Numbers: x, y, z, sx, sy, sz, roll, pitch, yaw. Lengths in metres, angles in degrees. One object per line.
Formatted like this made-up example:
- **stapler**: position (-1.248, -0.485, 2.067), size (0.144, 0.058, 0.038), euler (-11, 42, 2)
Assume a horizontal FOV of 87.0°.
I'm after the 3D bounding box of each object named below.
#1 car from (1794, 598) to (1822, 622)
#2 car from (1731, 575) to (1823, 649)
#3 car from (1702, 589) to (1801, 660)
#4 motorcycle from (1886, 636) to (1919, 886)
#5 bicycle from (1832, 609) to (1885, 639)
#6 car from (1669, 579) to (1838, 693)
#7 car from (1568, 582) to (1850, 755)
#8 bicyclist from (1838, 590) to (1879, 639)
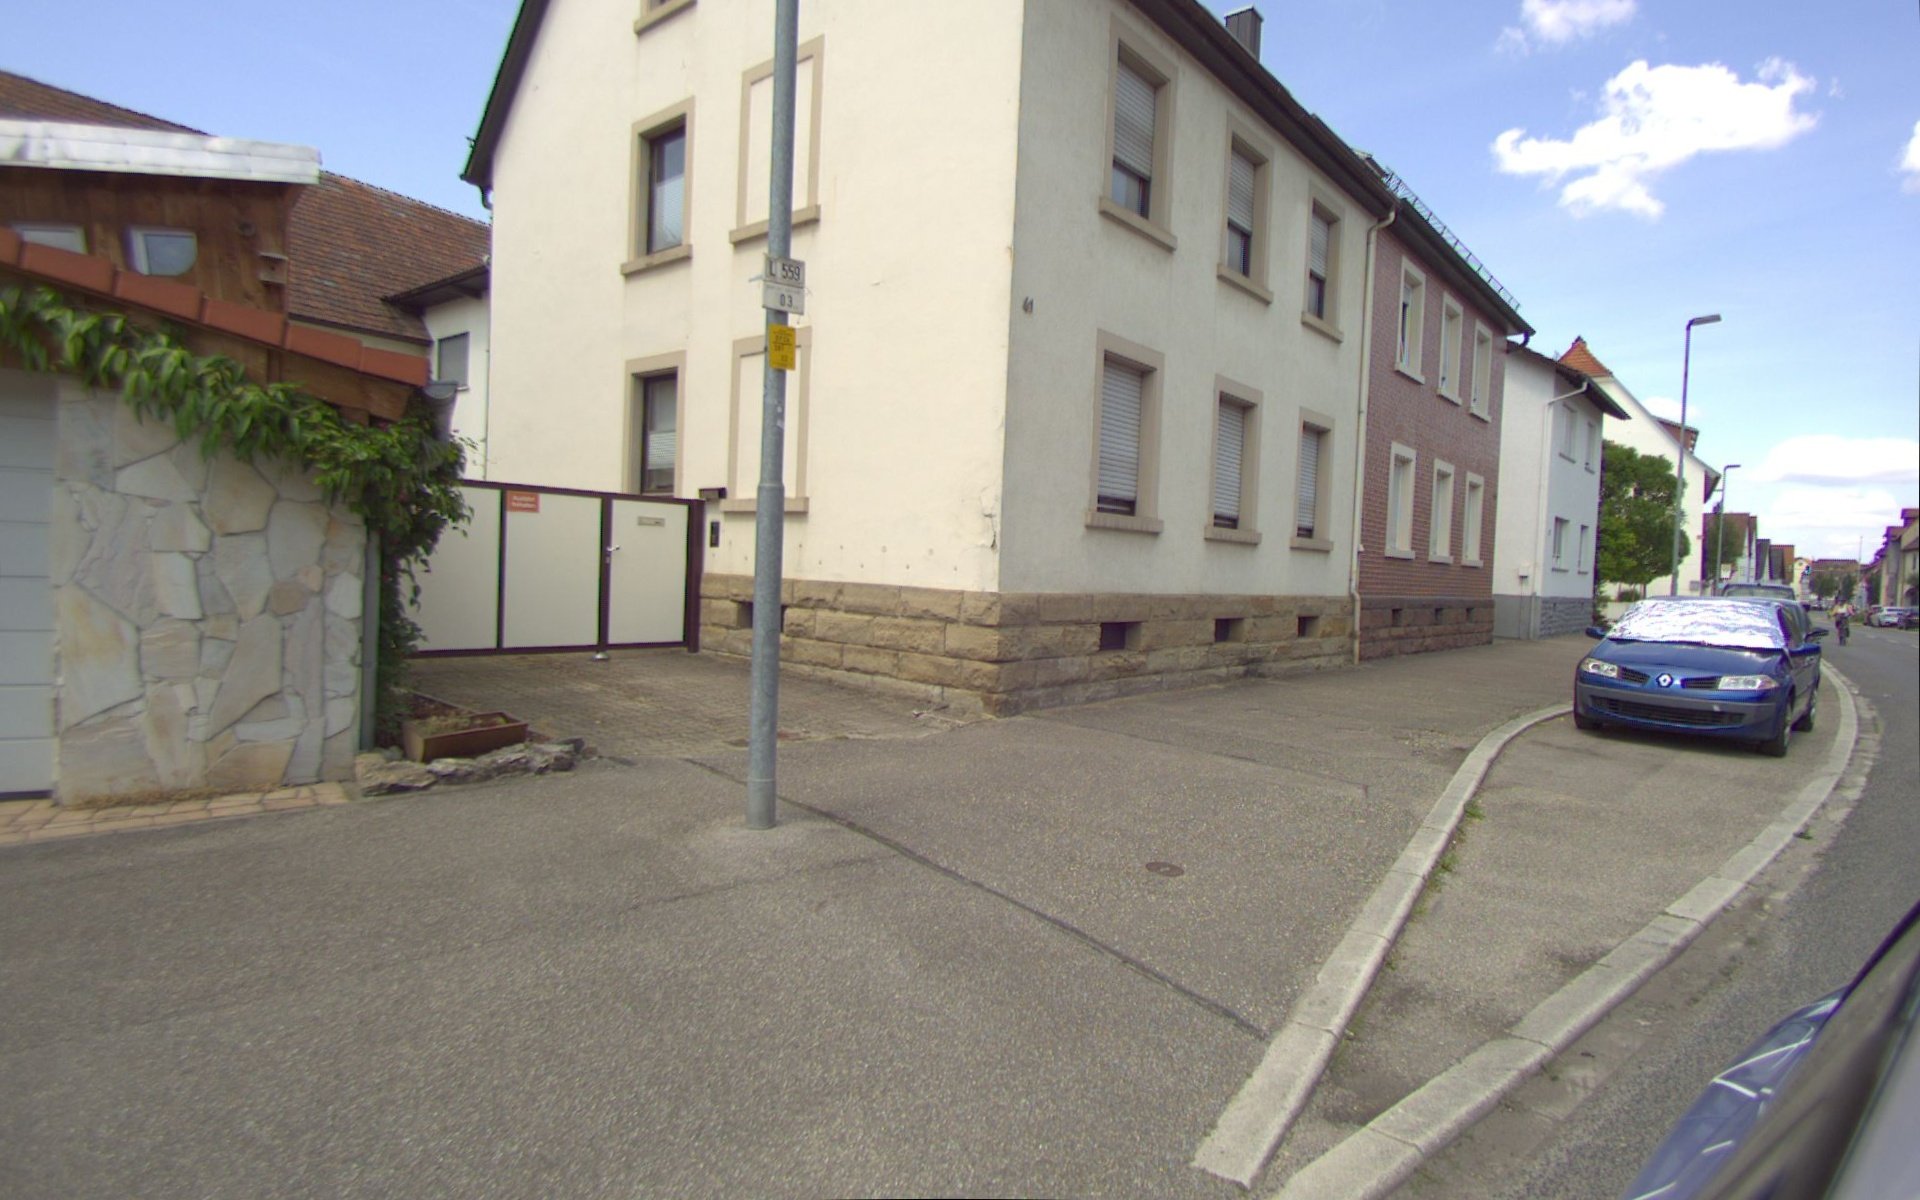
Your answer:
- **car**: position (81.290, 0.933, 96.992), size (1.992, 2.038, 3.940), euler (2, 2, 41)
- **car**: position (23.904, 0.254, 29.597), size (1.923, 1.939, 5.171), euler (1, 2, 40)
- **car**: position (19.670, 0.543, 25.218), size (1.736, 1.522, 4.496), euler (3, 2, 38)
- **motorcycle**: position (5.937, 0.838, 5.149), size (2.059, 1.257, 0.987), euler (1, -1, -21)
- **bicycle**: position (32.472, 0.871, 36.568), size (1.887, 1.024, 0.935), euler (2, 0, -33)
- **car**: position (12.755, 0.560, 16.182), size (1.768, 1.549, 3.937), euler (3, 0, 43)
- **car**: position (8.053, 0.560, 10.743), size (3.934, 1.402, 1.725), euler (-1, 4, -44)
- **bicyclist**: position (32.462, 0.512, 36.553), size (0.746, 1.709, 0.911), euler (0, 1, -32)
